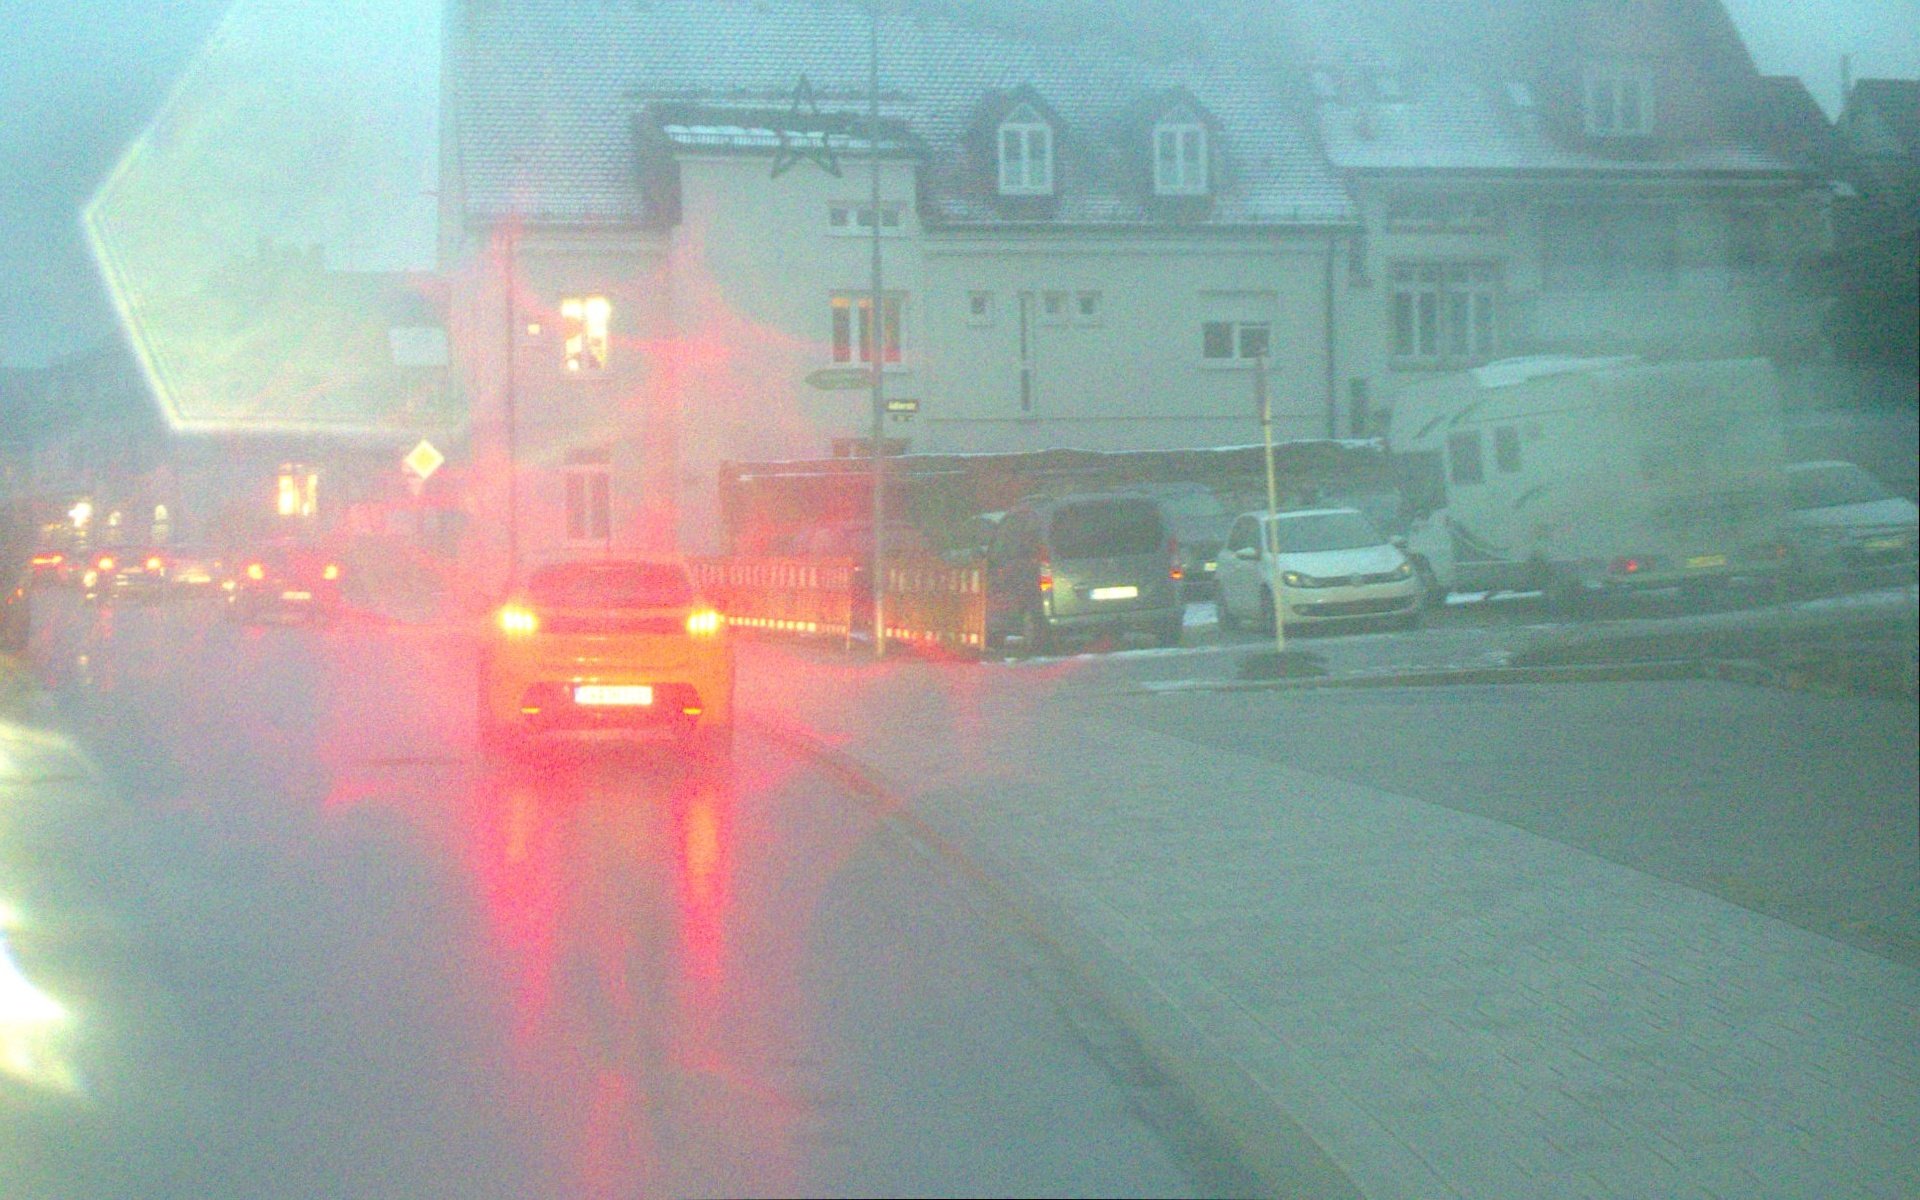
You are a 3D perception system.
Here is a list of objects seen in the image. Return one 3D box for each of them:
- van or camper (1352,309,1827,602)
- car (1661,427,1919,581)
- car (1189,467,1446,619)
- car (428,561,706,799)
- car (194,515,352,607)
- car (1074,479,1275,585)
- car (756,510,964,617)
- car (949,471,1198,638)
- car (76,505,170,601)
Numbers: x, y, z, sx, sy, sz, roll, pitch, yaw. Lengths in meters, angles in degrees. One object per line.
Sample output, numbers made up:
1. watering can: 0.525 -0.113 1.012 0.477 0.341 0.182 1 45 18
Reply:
1. van or camper: 7.303 -1.654 40.958 2.650 3.037 6.736 -5 2 -16
2. car: 9.961 -1.127 40.438 1.788 1.548 4.001 -7 3 -11
3. car: 4.145 -0.636 40.561 1.993 1.605 4.175 -3 0 -8
4. car: -2.745 0.503 24.584 1.814 1.528 4.001 0 1 -5
5. car: -12.359 -0.720 61.659 1.993 1.583 4.001 0 1 -23
6. car: 3.217 -1.065 52.517 1.822 1.457 4.550 -3 2 -13
7. car: -1.487 -0.552 49.703 1.886 1.457 3.634 -2 2 -21
8. car: 1.264 -0.561 40.530 1.993 1.759 4.352 -3 2 -10
9. car: -19.821 -1.122 81.281 1.993 2.195 4.001 0 1 -16
